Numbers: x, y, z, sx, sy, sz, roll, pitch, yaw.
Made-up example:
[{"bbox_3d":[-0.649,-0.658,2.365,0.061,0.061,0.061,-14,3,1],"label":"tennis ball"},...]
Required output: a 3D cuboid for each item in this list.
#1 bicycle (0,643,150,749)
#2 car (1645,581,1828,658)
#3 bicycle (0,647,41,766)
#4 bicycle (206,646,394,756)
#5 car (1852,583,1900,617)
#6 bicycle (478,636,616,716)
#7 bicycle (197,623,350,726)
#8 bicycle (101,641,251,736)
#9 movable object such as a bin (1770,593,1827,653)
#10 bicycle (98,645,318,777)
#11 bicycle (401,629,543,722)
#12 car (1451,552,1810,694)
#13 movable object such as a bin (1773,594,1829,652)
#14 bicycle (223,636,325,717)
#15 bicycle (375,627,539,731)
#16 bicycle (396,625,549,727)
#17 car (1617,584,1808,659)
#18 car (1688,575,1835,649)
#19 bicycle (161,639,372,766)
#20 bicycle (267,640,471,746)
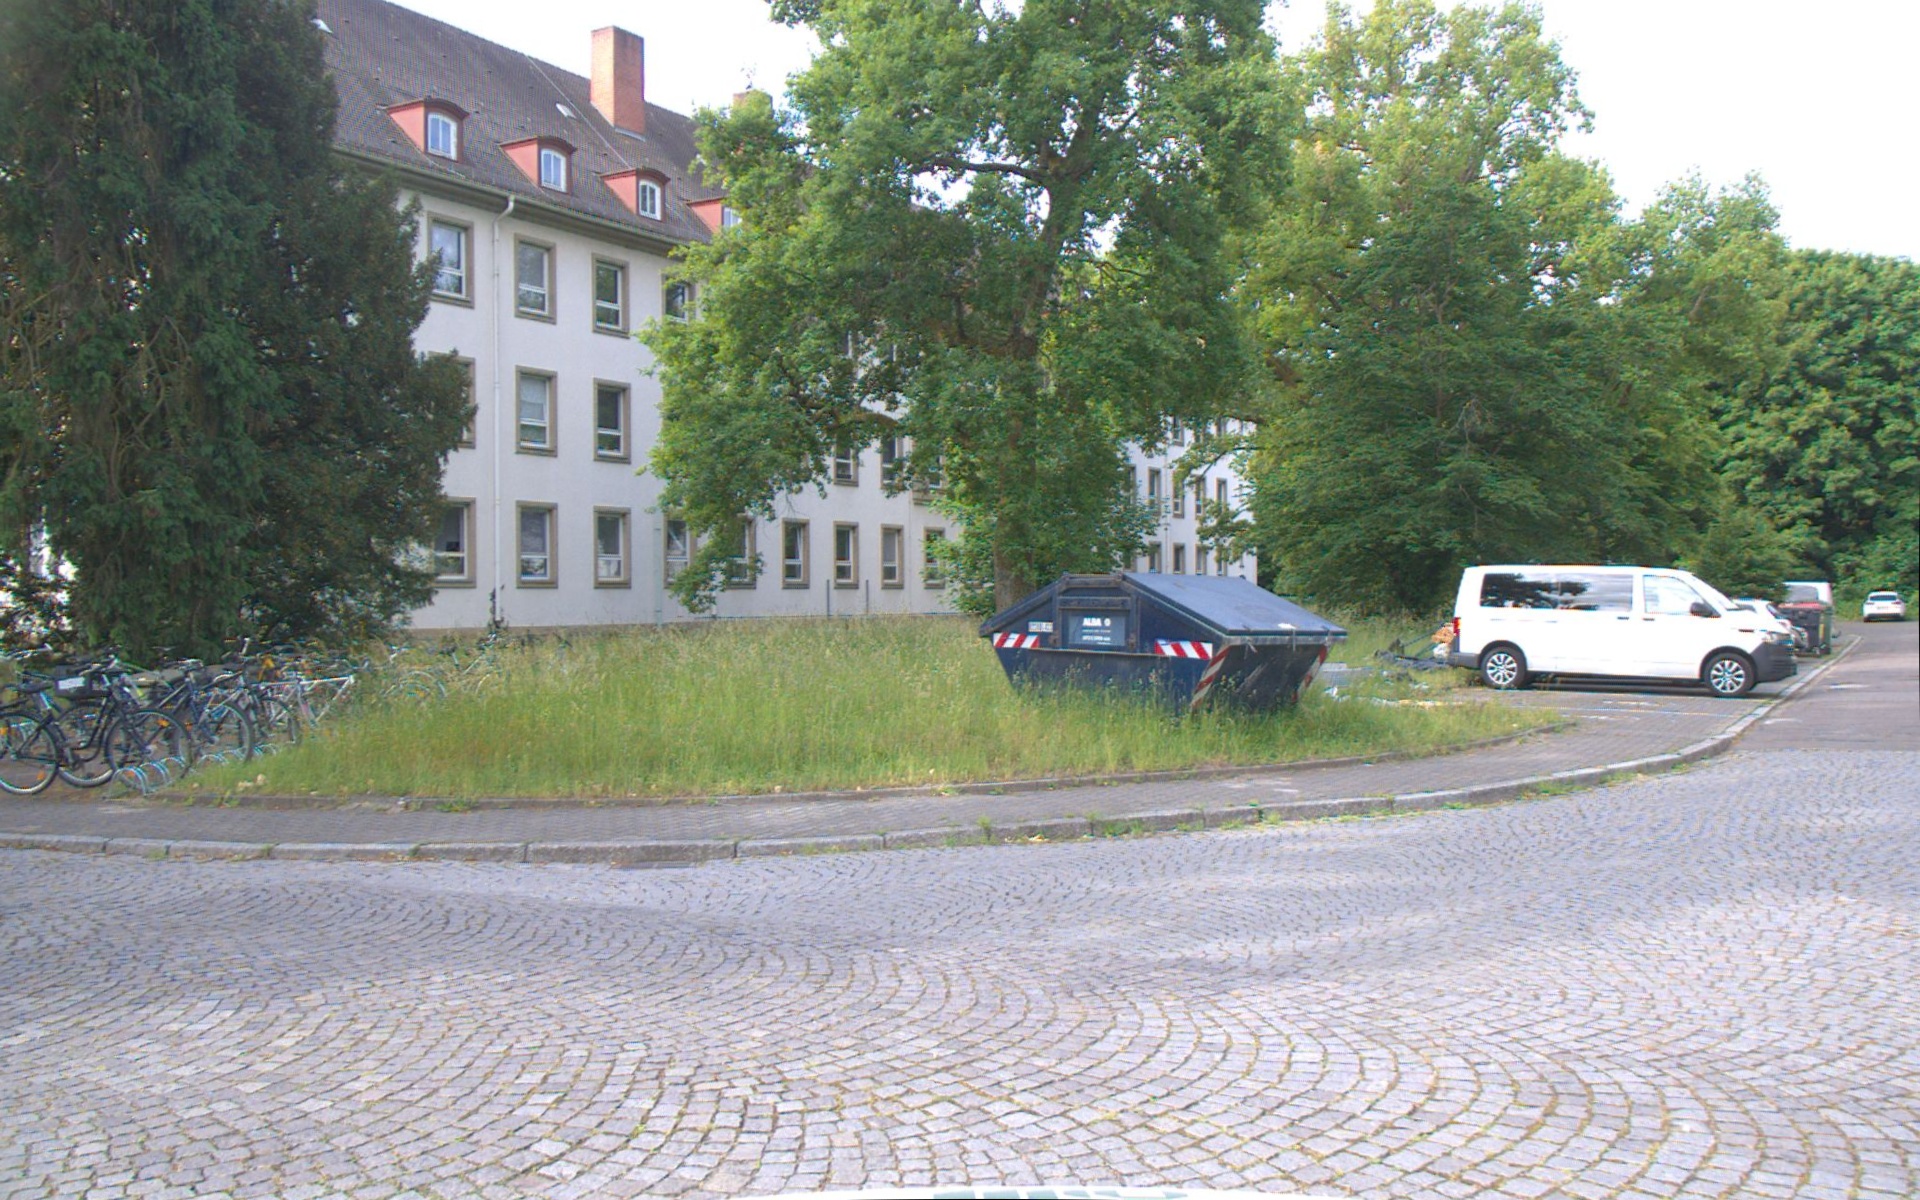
[{"bbox_3d":[-9.812,1.041,18.118,1.591,1.092,0.540,-1,2,1],"label":"bicycle"},{"bbox_3d":[18.433,0.436,39.312,3.623,1.620,1.756,3,1,38],"label":"car"},{"bbox_3d":[-10.298,1.058,16.564,1.942,1.133,0.644,0,2,12],"label":"bicycle"},{"bbox_3d":[-6.666,1.015,16.721,1.655,1.019,0.633,-2,2,12],"label":"bicycle"},{"bbox_3d":[45.593,-0.007,82.388,1.963,1.575,3.953,3,1,28],"label":"car"},{"bbox_3d":[-5.176,0.951,20.746,1.581,0.926,0.527,-2,2,12],"label":"bicycle"},{"bbox_3d":[-8.366,0.901,20.178,1.604,1.206,0.575,-1,2,5],"label":"bicycle"},{"bbox_3d":[-9.258,1.038,19.558,1.480,1.053,0.545,-1,2,1],"label":"bicycle"},{"bbox_3d":[21.252,0.578,41.914,1.162,1.431,0.973,2,1,32],"label":"movable object such as a bin"},{"bbox_3d":[-6.948,1.020,15.308,1.730,1.122,0.703,-2,2,12],"label":"bicycle"},{"bbox_3d":[-6.008,0.927,20.373,1.581,1.077,0.527,-2,2,12],"label":"bicycle"},{"bbox_3d":[10.778,0.308,26.664,5.104,2.096,2.184,1,0,30],"label":"car"},{"bbox_3d":[21.844,0.592,42.958,1.162,1.431,0.973,2,1,32],"label":"movable object such as a bin"},{"bbox_3d":[-9.133,1.018,22.017,1.232,1.047,0.434,-2,-3,12],"label":"bicycle"},{"bbox_3d":[-5.841,0.915,19.222,1.733,1.124,0.542,-2,2,12],"label":"bicycle"},{"bbox_3d":[-5.823,0.907,19.776,1.660,1.135,0.542,-2,2,12],"label":"bicycle"},{"bbox_3d":[17.062,0.473,37.561,3.572,1.506,1.812,3,1,39],"label":"car"},{"bbox_3d":[24.408,0.336,50.419,3.910,2.048,1.919,3,1,27],"label":"car"},{"bbox_3d":[-6.701,0.985,16.011,1.755,1.122,0.703,-2,2,12],"label":"bicycle"},{"bbox_3d":[-6.232,0.978,17.469,1.912,1.022,0.687,-2,2,12],"label":"bicycle"}]
